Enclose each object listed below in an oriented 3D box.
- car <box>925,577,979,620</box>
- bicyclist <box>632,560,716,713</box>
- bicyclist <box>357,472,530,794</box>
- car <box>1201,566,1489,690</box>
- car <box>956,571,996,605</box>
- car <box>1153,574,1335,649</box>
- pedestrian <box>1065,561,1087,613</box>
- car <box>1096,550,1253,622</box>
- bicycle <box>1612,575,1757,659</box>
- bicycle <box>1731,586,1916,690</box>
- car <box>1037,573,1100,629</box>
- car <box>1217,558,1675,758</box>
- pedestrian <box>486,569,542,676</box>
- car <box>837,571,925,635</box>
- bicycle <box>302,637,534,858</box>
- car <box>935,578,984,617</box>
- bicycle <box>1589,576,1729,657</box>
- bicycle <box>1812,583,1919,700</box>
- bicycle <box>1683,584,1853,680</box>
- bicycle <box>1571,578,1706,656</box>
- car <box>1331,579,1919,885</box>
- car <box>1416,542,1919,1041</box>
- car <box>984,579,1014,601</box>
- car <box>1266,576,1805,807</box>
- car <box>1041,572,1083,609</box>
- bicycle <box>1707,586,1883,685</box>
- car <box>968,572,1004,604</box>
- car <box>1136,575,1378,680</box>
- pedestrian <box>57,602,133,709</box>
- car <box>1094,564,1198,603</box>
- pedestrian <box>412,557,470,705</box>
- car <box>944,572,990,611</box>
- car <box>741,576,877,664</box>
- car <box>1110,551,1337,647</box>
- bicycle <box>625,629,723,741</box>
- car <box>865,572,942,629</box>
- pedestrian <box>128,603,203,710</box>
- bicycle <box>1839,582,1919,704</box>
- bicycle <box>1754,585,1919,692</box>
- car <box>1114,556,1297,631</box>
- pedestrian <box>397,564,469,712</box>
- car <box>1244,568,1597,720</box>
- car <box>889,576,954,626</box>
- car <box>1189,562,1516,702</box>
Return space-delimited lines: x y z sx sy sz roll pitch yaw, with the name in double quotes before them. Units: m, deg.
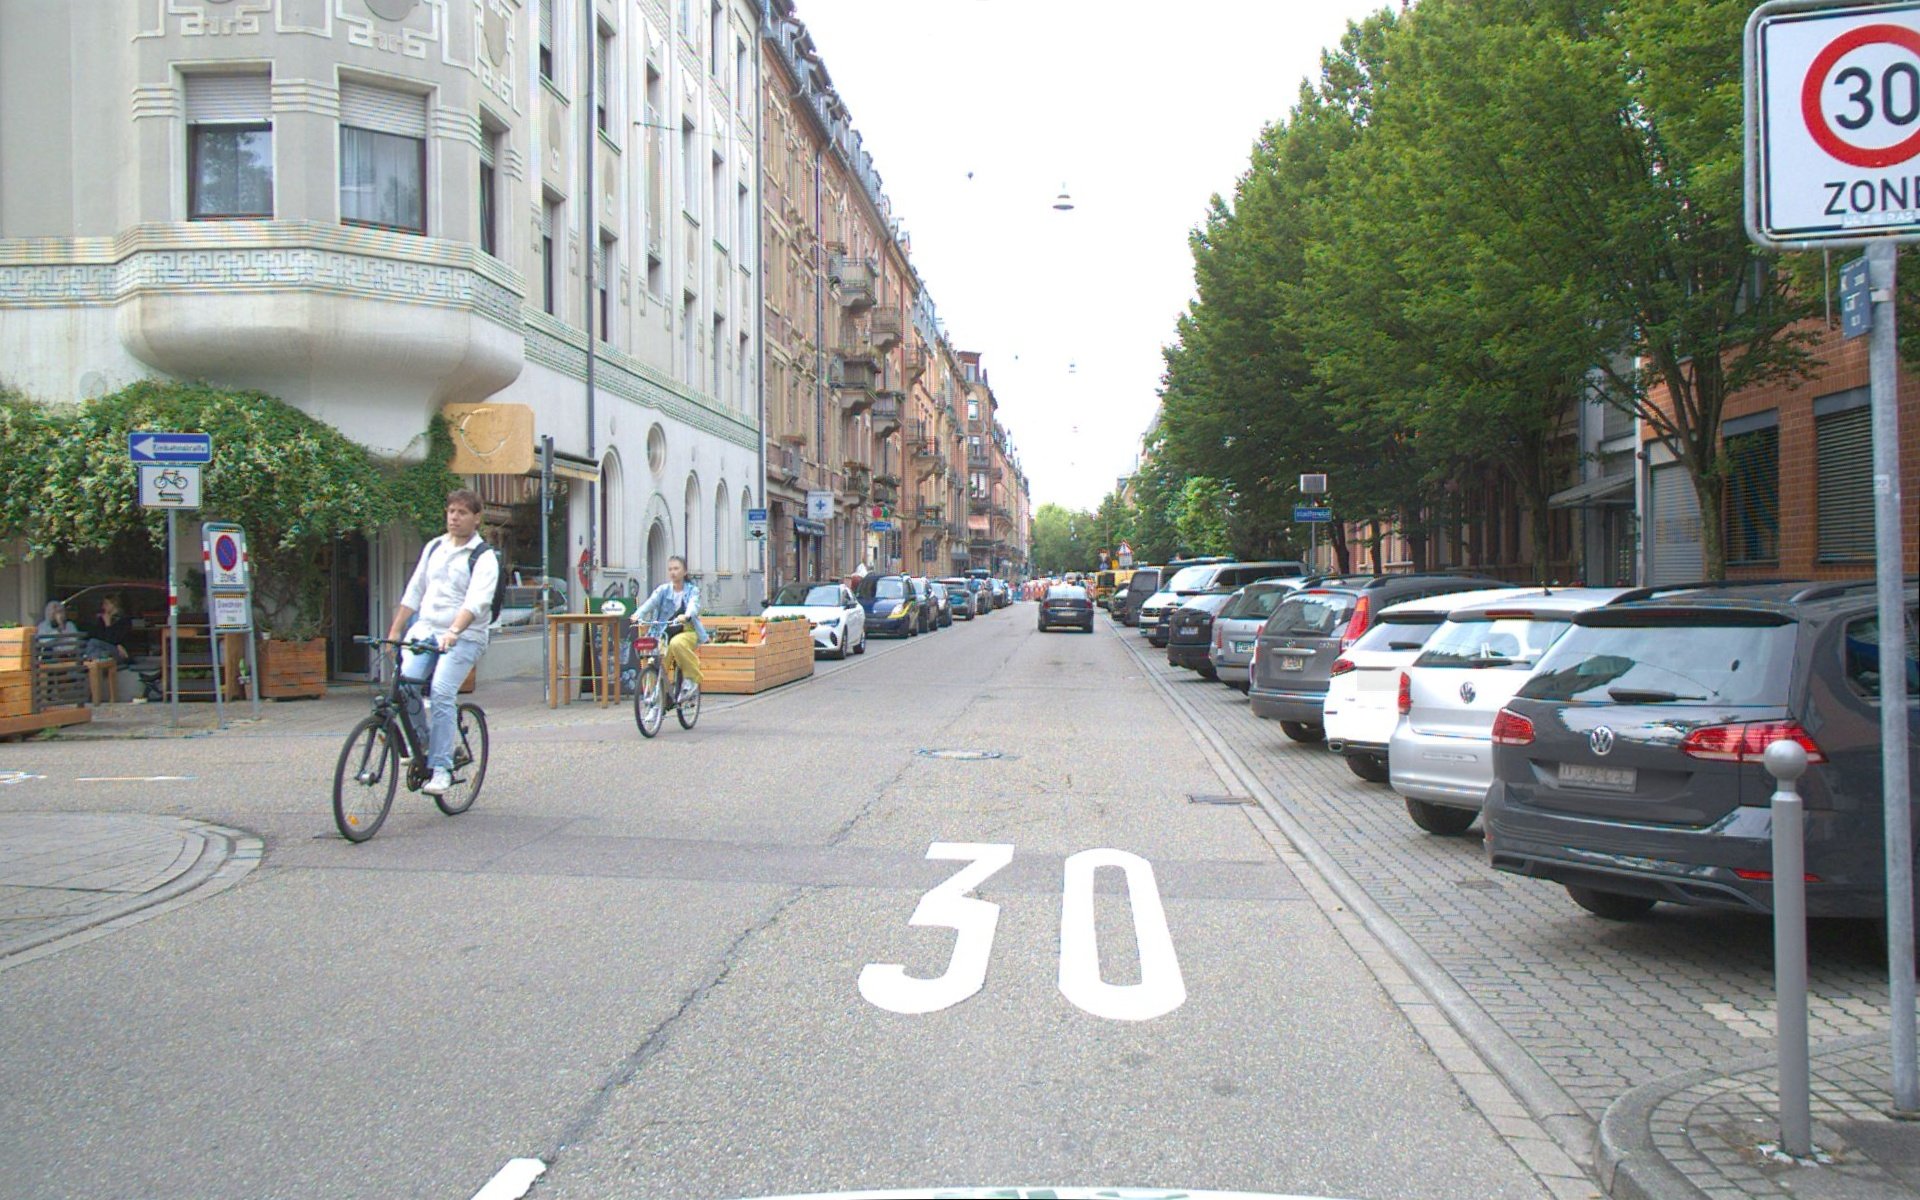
"car" -0.290 -0.075 65.951 1.903 1.645 3.944 -1 1 3
"bicyclist" -2.744 0.346 15.928 0.654 1.423 0.783 0 -1 1
"bicyclist" -3.151 0.196 10.143 0.765 1.898 0.715 -1 1 5
"car" 5.676 0.374 24.292 4.005 1.612 1.753 -2 0 -30
"car" 0.862 -0.646 88.599 1.903 1.775 3.945 0 0 4
"car" 6.401 0.240 37.193 3.811 1.531 1.753 -2 0 -31
"pedestrian" 4.878 -0.533 69.764 0.872 2.183 1.028 0 -1 3
"car" 7.783 -0.527 60.102 5.302 2.415 1.941 -2 0 -18
"bicycle" 9.831 0.229 22.476 1.716 1.111 0.565 0 -1 3
"bicycle" 9.507 0.415 18.243 1.716 1.111 0.565 0 -1 3
"car" 3.488 0.045 53.552 1.952 1.710 4.001 0 -1 3
"car" 4.641 0.480 15.754 4.000 1.612 1.886 -2 0 -28
"pedestrian" -6.884 0.342 25.542 0.734 1.621 0.613 0 -1 -27
"car" -2.067 0.064 44.303 1.903 1.645 3.945 0 0 4
"bicycle" -3.175 0.816 9.896 0.555 1.106 1.988 -1 1 5
"car" 0.020 -0.114 71.017 1.903 1.645 3.944 0 0 3
"bicycle" 9.827 0.236 23.278 1.716 1.111 0.565 0 -1 3
"bicycle" 9.336 0.394 16.015 1.855 1.111 0.543 0 -1 3
"bicycle" 9.575 0.380 19.632 1.716 1.111 0.565 0 -1 3
"bicycle" 9.831 0.242 24.007 1.716 1.111 0.565 0 -1 3
"car" 4.182 0.645 10.075 3.520 1.525 1.826 -1 1 -32
"car" 4.269 0.564 7.363 4.228 1.606 1.845 -4 1 -30
"car" 2.589 -0.658 110.277 1.952 1.344 4.000 0 -1 0
"car" 4.576 0.635 13.113 3.927 1.570 1.859 1 1 -28
"car" 4.946 -0.439 80.627 1.952 1.710 4.001 0 -1 3
"bicycle" 9.591 0.411 19.023 1.716 1.111 0.565 0 -1 3
"car" 1.522 -0.684 95.372 1.903 1.768 3.945 -1 1 4
"car" 4.882 0.413 27.006 3.821 1.531 1.748 -2 0 -37
"pedestrian" -10.160 0.641 19.436 0.566 1.218 0.555 0 1 4
"car" 9.959 -0.882 88.627 5.320 1.900 1.934 -2 0 -26
"pedestrian" -6.320 0.375 20.126 0.573 1.765 0.500 0 -1 -32
"car" 0.366 -0.387 77.796 1.903 1.772 3.945 0 0 4
"car" -2.909 0.353 32.712 1.903 1.580 3.820 -2 0 6
"car" 6.545 -0.056 40.849 5.549 2.164 1.930 -2 0 -31
"bicycle" -2.728 0.786 15.922 0.524 0.994 1.866 0 -1 3
"car" -1.651 0.006 49.764 1.903 1.645 3.945 0 0 4
"pedestrian" -9.307 0.653 19.383 0.566 1.218 0.555 0 1 4
"bicycle" 9.302 0.389 15.410 1.892 1.111 0.577 0 -1 3
"bicycle" 9.499 0.407 17.612 1.797 1.111 0.565 0 -1 3
"car" 7.297 -0.195 48.920 5.331 2.027 1.930 -2 0 -31
"pedestrian" -6.164 0.439 19.347 0.567 1.689 0.575 -1 -1 25
"car" 5.359 0.447 19.099 4.009 1.512 1.663 -2 0 -33
"car" -1.286 0.029 56.886 1.903 1.645 3.944 0 0 3
"car" 5.165 0.375 21.707 3.999 1.612 1.756 -2 0 -27
